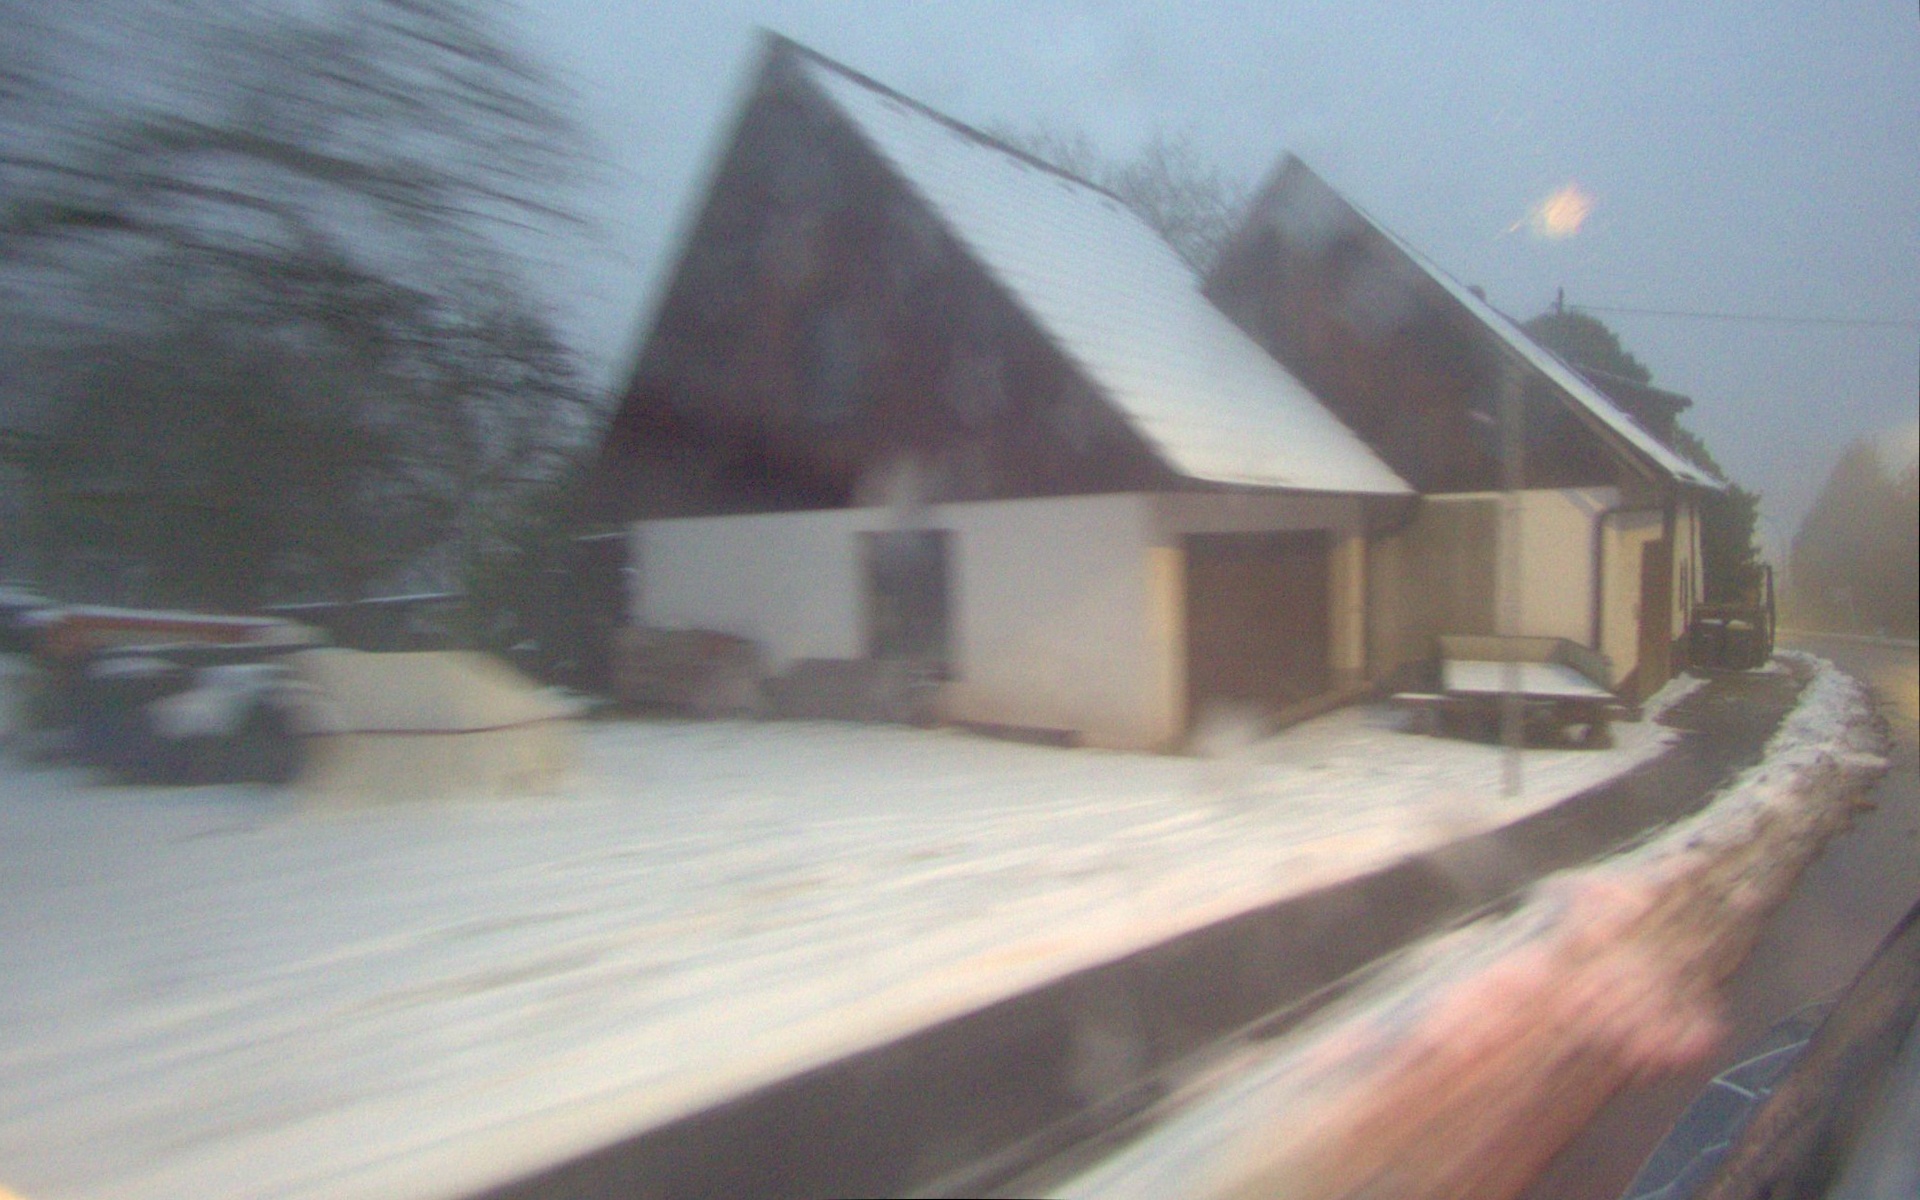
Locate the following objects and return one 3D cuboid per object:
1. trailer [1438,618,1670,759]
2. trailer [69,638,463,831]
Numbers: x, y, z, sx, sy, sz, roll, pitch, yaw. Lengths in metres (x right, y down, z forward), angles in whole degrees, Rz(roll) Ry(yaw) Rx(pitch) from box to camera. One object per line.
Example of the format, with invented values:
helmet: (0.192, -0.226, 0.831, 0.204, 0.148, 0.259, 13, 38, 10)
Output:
trailer: (5.929, 0.773, 10.525, 1.532, 0.957, 3.970, 2, 2, 23)
trailer: (-6.082, 0.948, 8.692, 2.209, 1.105, 3.872, -1, 0, -44)
